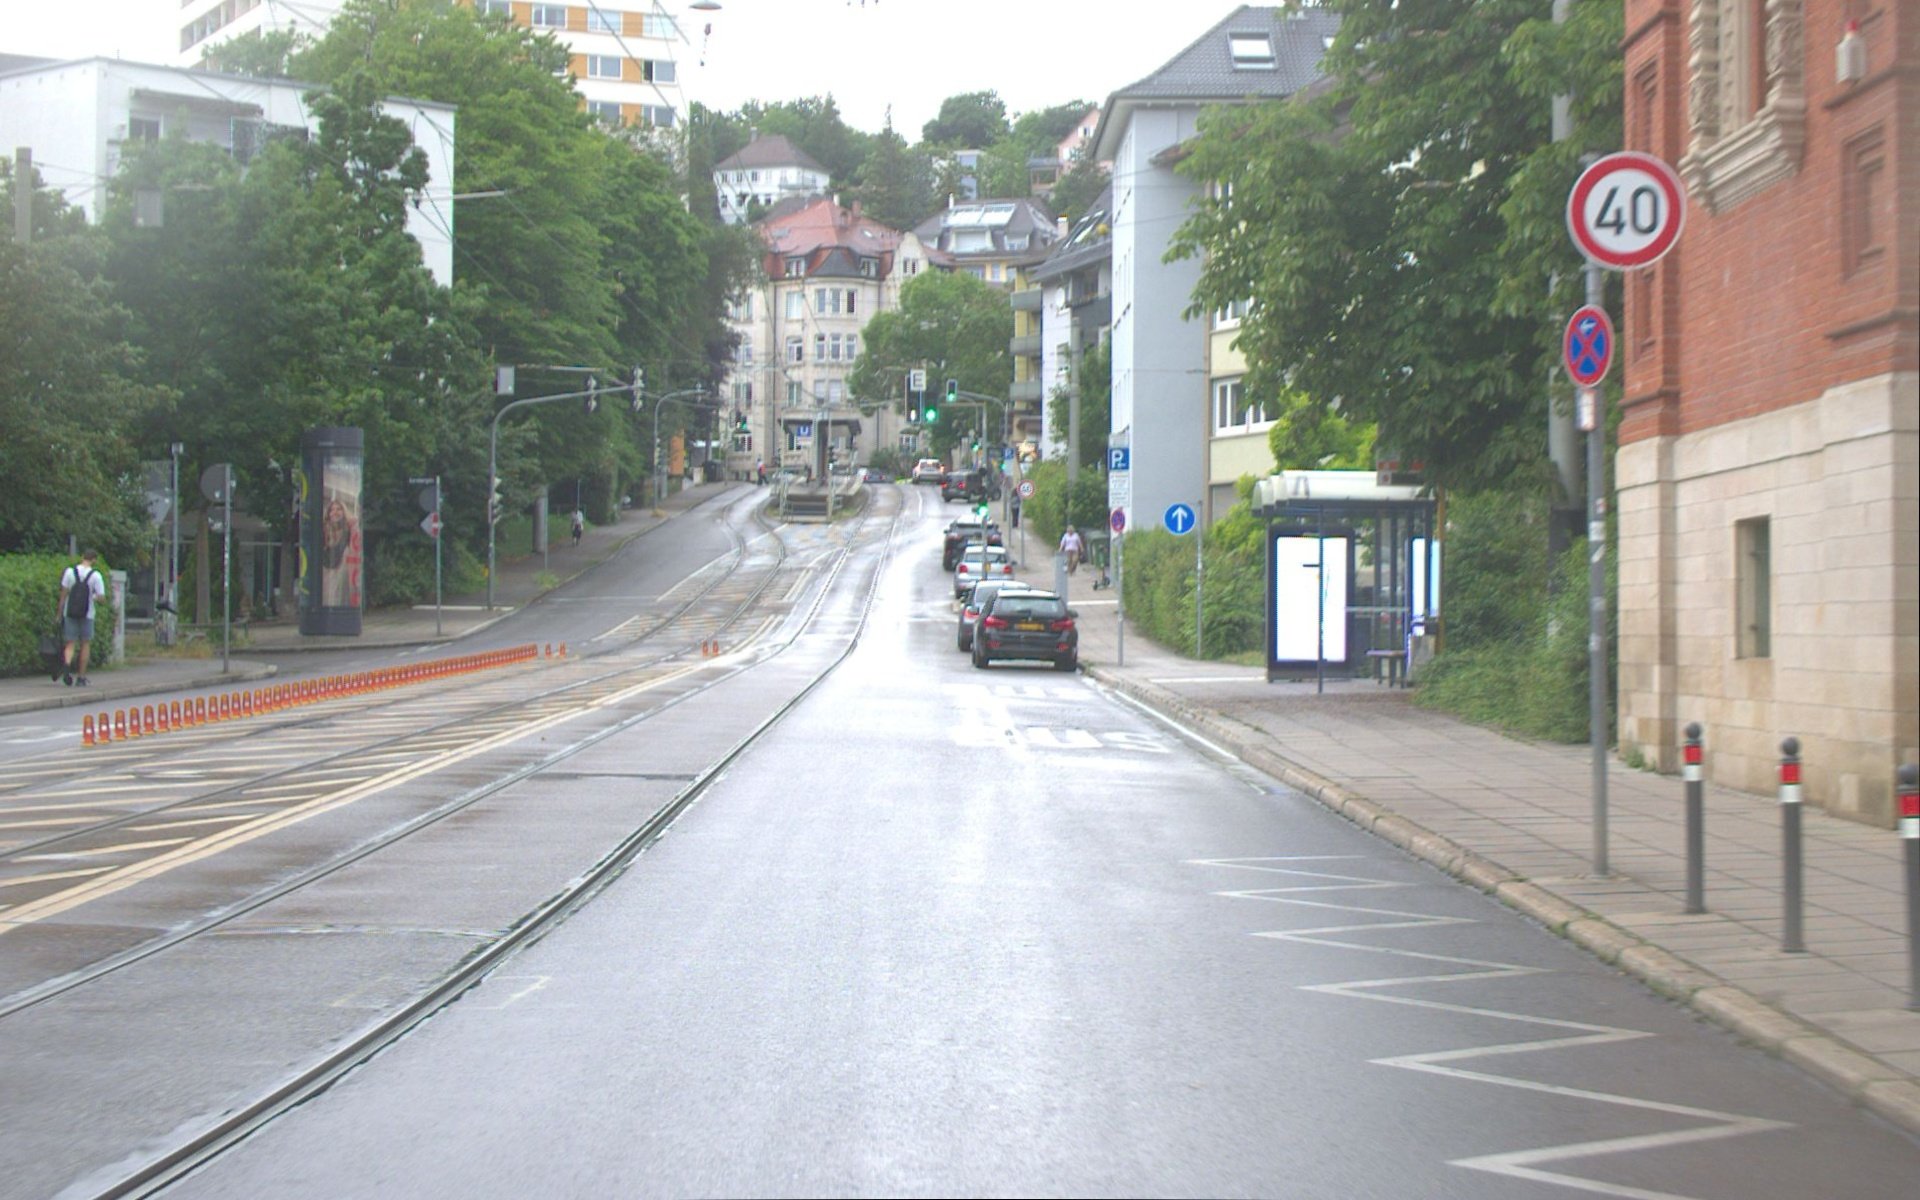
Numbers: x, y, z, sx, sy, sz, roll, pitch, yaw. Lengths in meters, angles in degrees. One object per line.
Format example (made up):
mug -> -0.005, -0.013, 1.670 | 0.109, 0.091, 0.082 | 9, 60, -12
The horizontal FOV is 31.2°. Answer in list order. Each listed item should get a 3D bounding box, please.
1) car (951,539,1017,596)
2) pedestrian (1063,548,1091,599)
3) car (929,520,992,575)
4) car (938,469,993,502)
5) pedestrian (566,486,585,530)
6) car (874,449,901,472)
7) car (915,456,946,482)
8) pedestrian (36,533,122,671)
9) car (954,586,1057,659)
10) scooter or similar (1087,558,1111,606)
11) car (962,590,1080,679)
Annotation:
car -> 0.681, -0.959, 98.898 | 1.704, 1.428, 4.102 | 2, 2, -1
pedestrian -> 3.722, -0.858, 109.459 | 0.882, 1.577, 0.801 | 0, 4, 2
car -> 0.000, -1.781, 115.110 | 1.906, 1.636, 4.690 | 2, 2, -1
car -> 0.332, -6.334, 190.815 | 1.803, 1.640, 3.996 | 2, 1, 19
pedestrian -> -14.369, -3.429, 128.525 | 0.583, 1.594, 0.869 | 3, 2, -4
car -> -5.365, -10.354, 255.237 | 1.906, 1.636, 4.690 | 2, 2, -1
car -> -1.942, -8.647, 227.224 | 1.906, 1.636, 4.690 | 2, 2, -1
pedestrian -> -12.123, 0.036, 47.344 | 0.918, 1.840, 1.017 | 3, -1, -6
car -> 0.951, 0.466, 73.921 | 1.939, 1.459, 4.207 | 2, 0, -3
scooter or similar -> 4.024, -0.519, 99.518 | 0.575, 1.245, 1.610 | 2, 5, 5
car -> 1.061, 0.592, 62.353 | 1.858, 1.482, 4.645 | 2, 0, -2
